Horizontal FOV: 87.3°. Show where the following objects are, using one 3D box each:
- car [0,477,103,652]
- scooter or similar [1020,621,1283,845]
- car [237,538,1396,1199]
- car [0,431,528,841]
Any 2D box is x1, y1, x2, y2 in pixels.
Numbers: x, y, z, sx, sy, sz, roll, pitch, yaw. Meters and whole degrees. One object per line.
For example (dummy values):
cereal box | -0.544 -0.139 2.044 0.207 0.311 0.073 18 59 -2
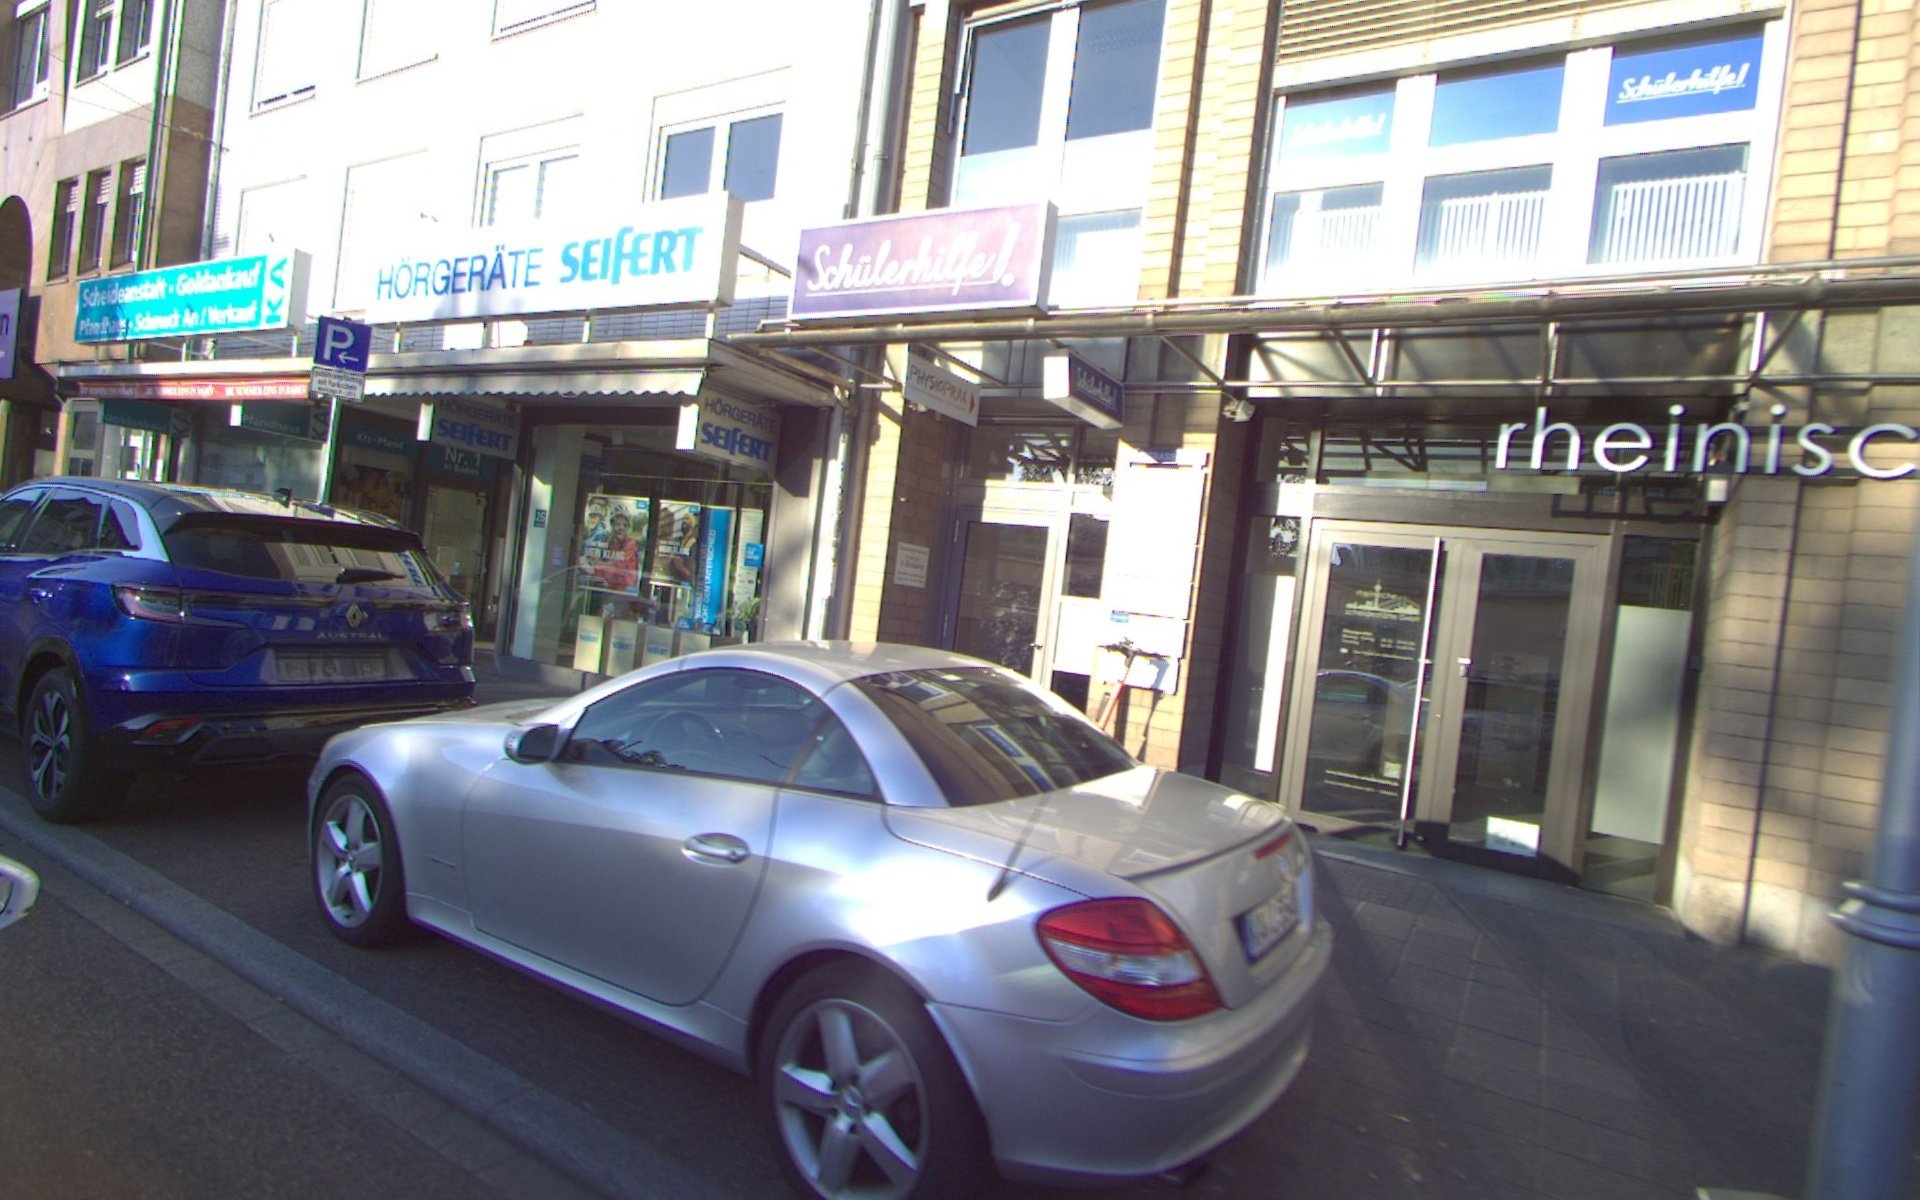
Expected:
car | -9.912 -0.478 9.274 4.082 1.453 1.733 6 0 30
scooter or similar | 1.263 0.841 6.780 1.546 1.198 0.460 8 1 30
car | -0.772 0.637 3.658 3.998 1.298 1.675 6 0 34
car | -4.710 -0.001 5.885 4.215 1.625 1.767 7 0 31
